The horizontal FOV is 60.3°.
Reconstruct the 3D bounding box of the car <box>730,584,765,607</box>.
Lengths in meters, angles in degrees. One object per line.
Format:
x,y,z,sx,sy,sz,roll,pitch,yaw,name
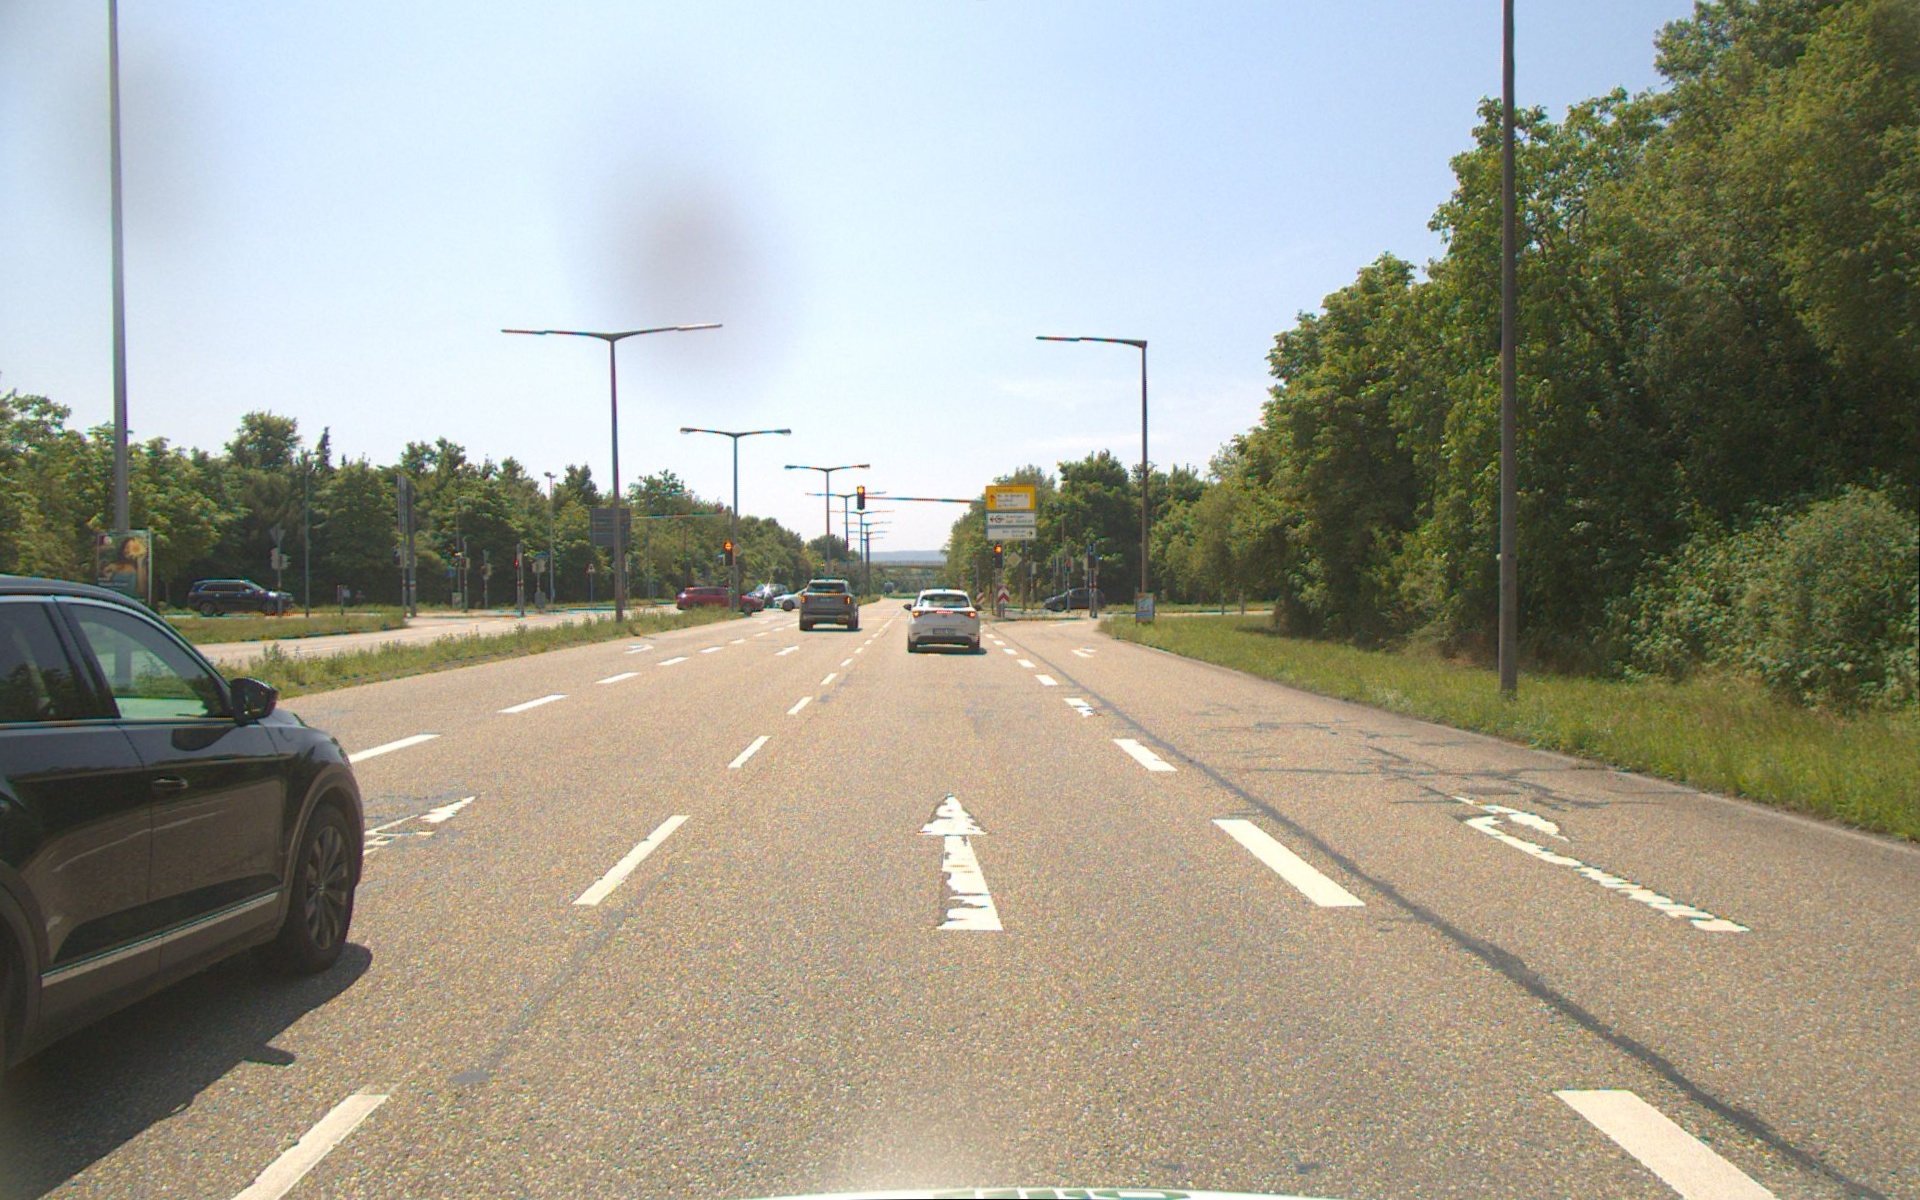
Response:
-14.901,-0.328,116.152,1.790,1.545,4.001,0,0,1,car

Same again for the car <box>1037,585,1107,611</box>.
6.935,-0.119,102.834,4.025,1.552,1.934,-1,0,-9,car

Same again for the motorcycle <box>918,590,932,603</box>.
-3.633,-0.340,170.328,1.395,1.303,2.568,-2,0,-1,motorcycle

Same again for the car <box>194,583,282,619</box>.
-37.795,0.048,86.694,3.919,1.862,1.993,0,0,-14,car

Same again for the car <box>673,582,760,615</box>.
-12.700,-0.090,86.539,4.437,1.669,1.975,0,0,-8,car

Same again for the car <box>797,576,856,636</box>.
-4.566,0.192,56.989,1.719,1.962,3.999,0,0,-1,car

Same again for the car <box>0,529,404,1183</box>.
-3.194,0.618,4.984,1.719,1.583,3.999,0,0,-1,car

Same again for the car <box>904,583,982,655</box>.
-0.405,0.419,39.819,1.760,1.611,3.999,-1,0,-1,car

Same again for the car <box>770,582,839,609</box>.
-9.465,-0.274,100.457,4.025,1.552,1.934,-1,0,-9,car
